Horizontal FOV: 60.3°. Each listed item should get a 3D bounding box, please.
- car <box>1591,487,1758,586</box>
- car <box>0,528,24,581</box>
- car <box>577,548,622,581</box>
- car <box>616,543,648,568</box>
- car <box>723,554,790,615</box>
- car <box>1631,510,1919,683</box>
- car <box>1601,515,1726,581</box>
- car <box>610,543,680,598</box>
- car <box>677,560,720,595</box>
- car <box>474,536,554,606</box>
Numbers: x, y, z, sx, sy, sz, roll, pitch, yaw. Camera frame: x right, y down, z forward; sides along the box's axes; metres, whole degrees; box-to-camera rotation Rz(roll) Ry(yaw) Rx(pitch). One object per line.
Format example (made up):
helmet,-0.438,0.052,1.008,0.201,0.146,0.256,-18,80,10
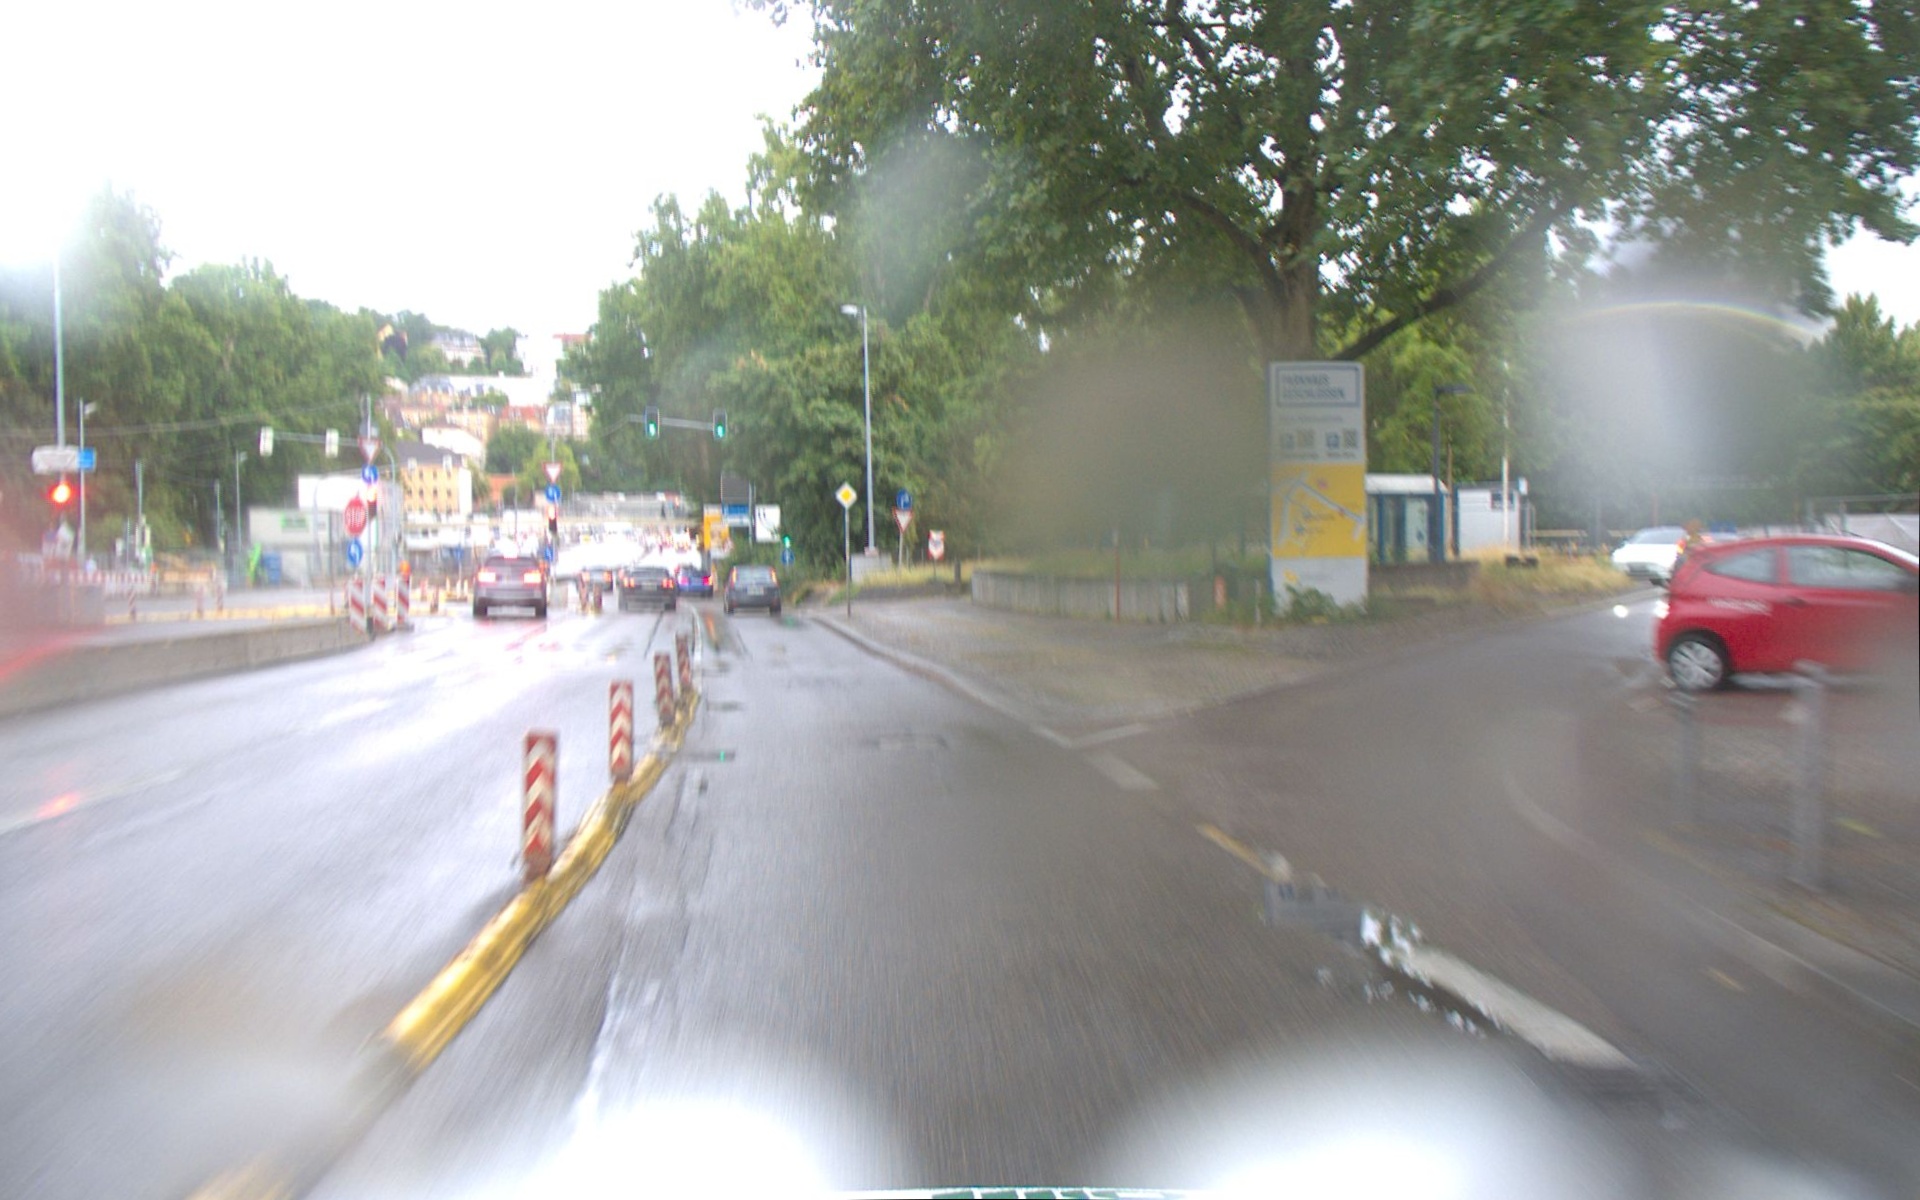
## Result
car,15.817,-1.365,36.473,2.095,2.048,4.624,2,2,40
car,-44.441,-2.047,75.403,1.885,2.402,4.498,-2,2,-15
car,-19.834,-1.949,91.243,1.866,1.746,3.997,1,2,-5
car,-22.039,-3.012,111.139,1.610,1.652,3.775,0,2,-19
car,-6.138,-0.500,50.318,1.815,1.746,3.997,1,2,-5
car,8.483,-0.061,15.766,3.547,1.532,1.728,2,2,36
car,20.386,-1.485,47.873,1.917,1.812,4.426,2,2,43
car,-10.420,-1.014,55.026,1.794,1.715,4.131,0,2,-4
car,-12.386,-1.079,78.389,1.641,1.608,3.238,1,2,-3
car,-12.471,-0.834,46.463,1.959,1.858,3.988,1,2,-13
